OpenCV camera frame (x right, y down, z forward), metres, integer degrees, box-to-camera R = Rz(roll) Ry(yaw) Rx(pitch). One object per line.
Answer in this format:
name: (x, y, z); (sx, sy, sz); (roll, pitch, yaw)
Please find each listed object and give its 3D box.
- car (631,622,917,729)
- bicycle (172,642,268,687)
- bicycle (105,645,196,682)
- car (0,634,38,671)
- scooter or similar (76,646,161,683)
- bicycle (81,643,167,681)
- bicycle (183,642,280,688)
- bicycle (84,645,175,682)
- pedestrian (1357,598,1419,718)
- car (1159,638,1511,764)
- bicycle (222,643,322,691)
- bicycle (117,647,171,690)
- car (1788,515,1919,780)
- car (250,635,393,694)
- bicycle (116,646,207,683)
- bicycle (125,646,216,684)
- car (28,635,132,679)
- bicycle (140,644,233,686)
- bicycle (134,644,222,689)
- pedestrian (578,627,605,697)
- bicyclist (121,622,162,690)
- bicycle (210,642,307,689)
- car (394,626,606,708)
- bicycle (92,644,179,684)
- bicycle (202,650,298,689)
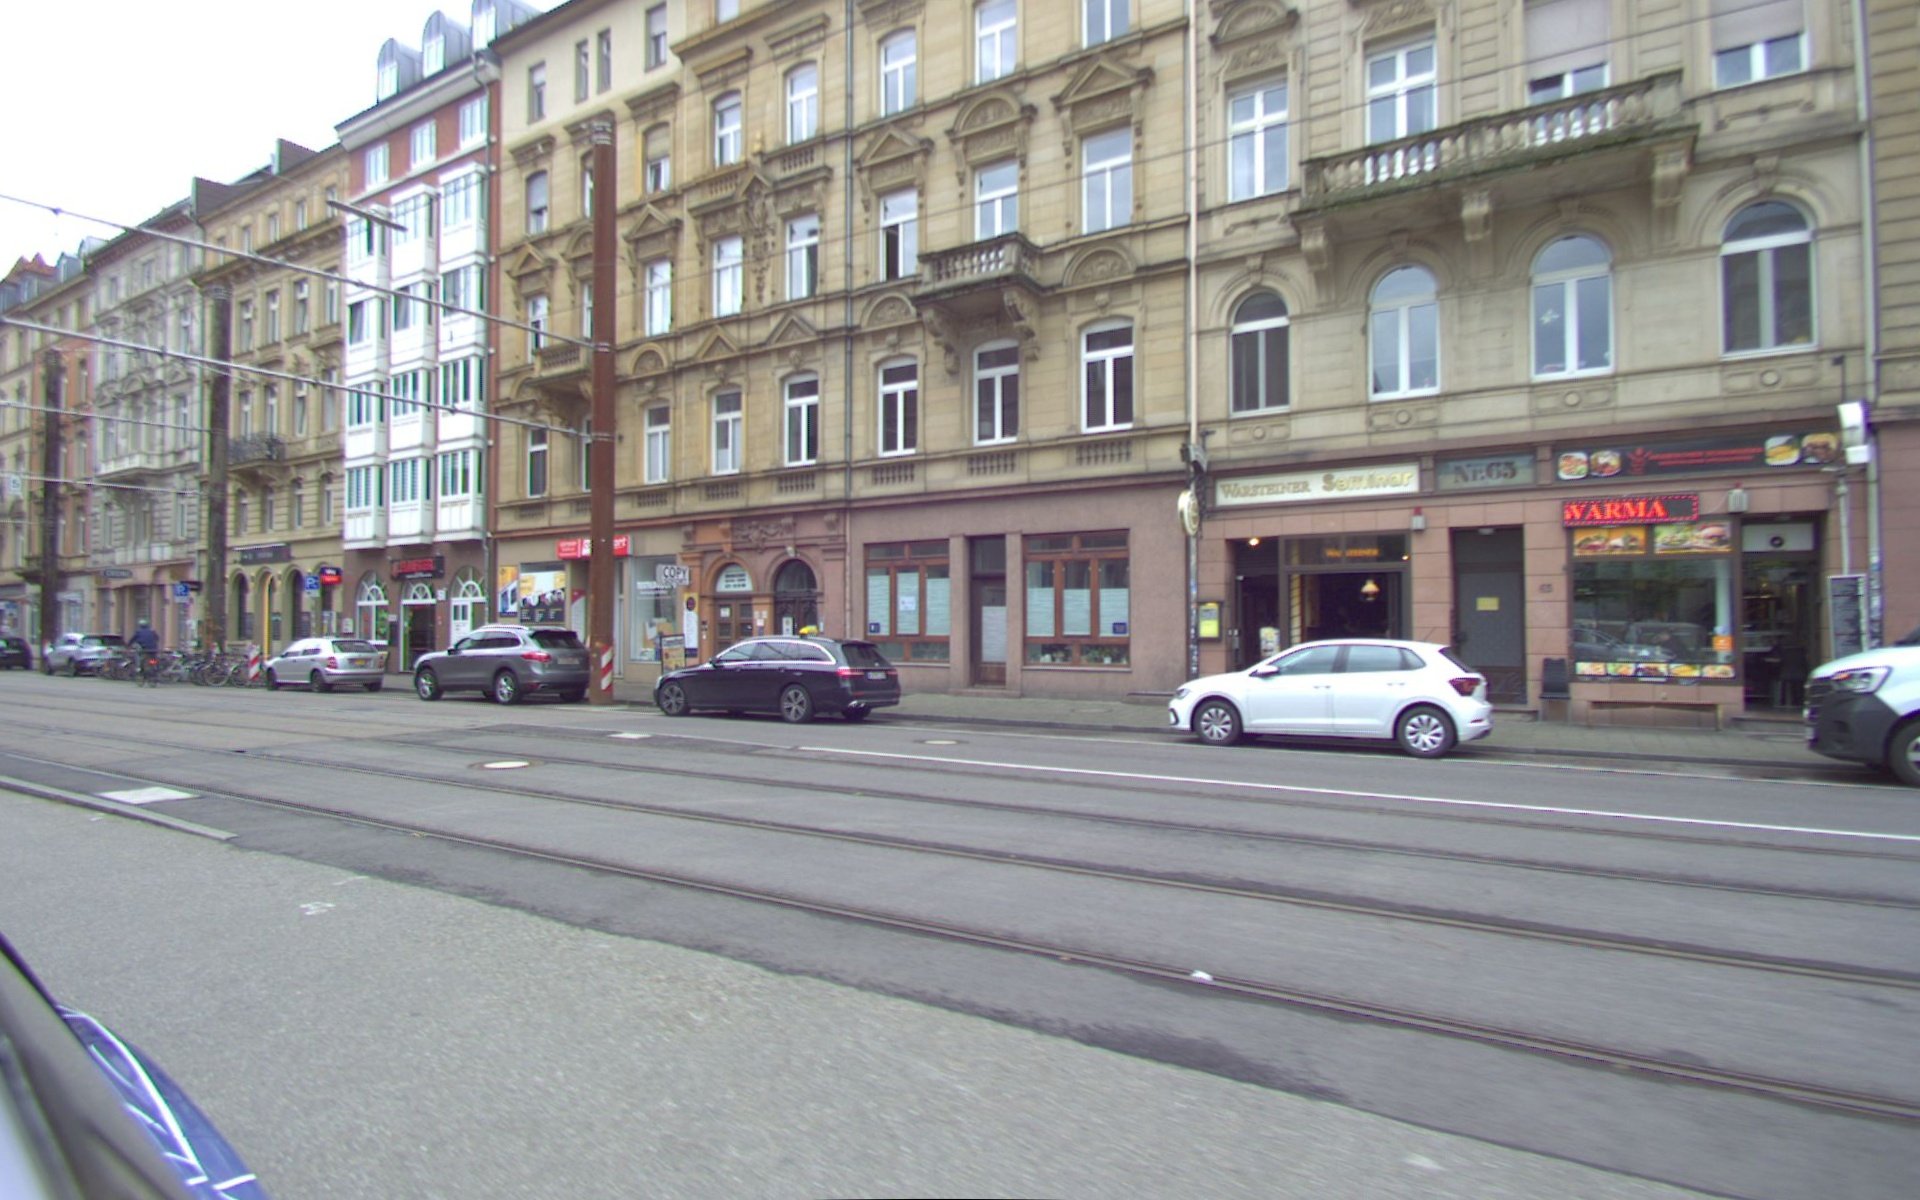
car: (-3.404, 1.302, 18.190); (5.033, 1.702, 1.905); (-1, -4, 31)
bicycle: (-22.760, 1.979, 31.181); (0.664, 1.339, 2.264); (-2, -4, 32)
bicycle: (-27.377, 2.149, 34.259); (0.702, 1.212, 2.264); (-2, -4, 32)
car: (-40.958, 2.230, 42.969); (3.908, 1.500, 1.730); (-2, -3, 33)
scooter or similar: (-29.596, 2.251, 35.630); (0.546, 1.212, 2.264); (-2, -1, 32)
bicycle: (-29.092, 2.143, 35.247); (0.546, 1.212, 2.264); (-2, -2, 32)
bicycle: (-22.069, 1.977, 30.727); (0.664, 1.339, 2.264); (-2, -4, 32)
bicycle: (-28.545, 2.176, 34.830); (0.702, 1.212, 2.264); (-2, -4, 32)
pedestrian: (7.426, 0.993, 17.569); (0.737, 2.029, 0.709); (-1, -1, 2)
car: (4.917, 1.254, 13.448); (4.149, 1.434, 1.758); (-1, -4, 31)
bicycle: (-19.877, 1.929, 29.286); (0.664, 1.339, 2.264); (-2, -4, 32)
bicycle: (-23.496, 1.958, 29.136); (2.039, 1.183, 0.580); (-1, -4, 34)
car: (11.474, 0.467, 9.304); (5.645, 2.506, 2.037); (-1, -4, 31)
car: (-17.432, 1.739, 27.616); (3.906, 1.500, 1.730); (-2, -3, 32)
bicycle: (-26.701, 2.154, 33.881); (0.664, 1.212, 2.264); (-2, -4, 32)
bicycle: (-26.100, 2.151, 33.500); (0.664, 1.212, 2.264); (-2, -4, 32)
car: (-32.674, 2.098, 37.564); (4.211, 1.545, 1.730); (-2, -3, 32)
bicycle: (-25.044, 2.106, 32.834); (0.664, 1.339, 2.264); (-2, -4, 32)
bicycle: (-25.565, 2.154, 33.136); (0.447, 1.304, 2.264); (-2, 0, 32)
pedestrian: (-9.705, 1.619, 26.668); (0.643, 1.796, 0.788); (0, -1, -21)
bicyclist: (-23.586, 1.593, 29.157); (1.025, 1.897, 0.640); (-1, -1, 34)
bicycle: (-20.508, 1.918, 29.635); (0.519, 1.339, 2.264); (-2, -4, 32)
car: (-10.542, 1.492, 23.090); (5.010, 1.703, 1.801); (-2, -3, 30)
bicycle: (-28.089, 2.153, 34.523); (0.538, 1.212, 2.264); (0, 0, 32)
bicycle: (-20.991, 2.035, 29.978); (0.617, 1.049, 2.264); (-2, -2, 32)
